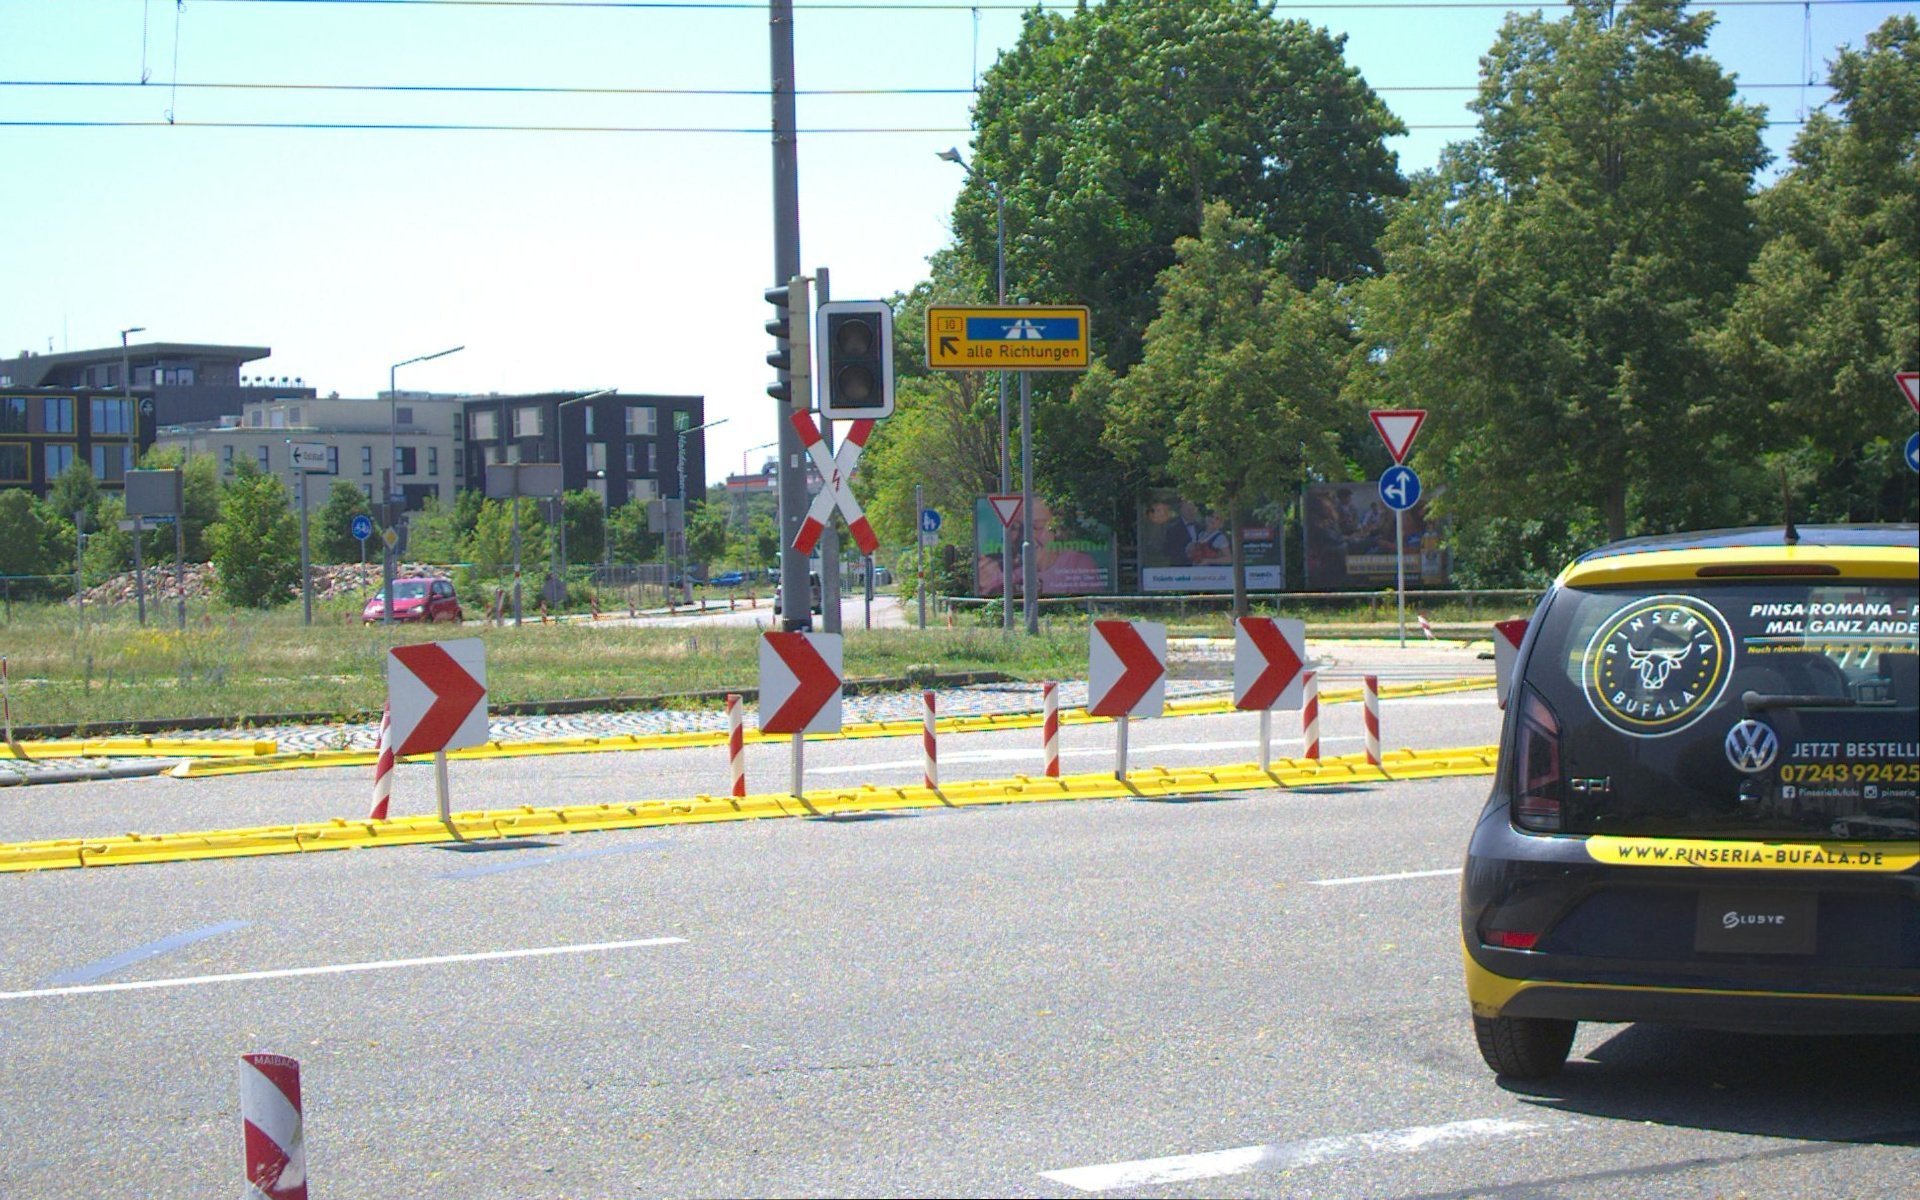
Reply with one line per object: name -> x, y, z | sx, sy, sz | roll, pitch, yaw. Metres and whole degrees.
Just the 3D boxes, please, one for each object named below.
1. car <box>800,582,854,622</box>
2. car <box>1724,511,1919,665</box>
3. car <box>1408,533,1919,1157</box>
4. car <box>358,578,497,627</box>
car -> -4.844, 0.050, 125.499 | 1.658, 1.368, 3.031 | -1, 1, 3
car -> 9.249, -0.164, 36.098 | 1.994, 1.481, 4.365 | -2, 1, 8
car -> 2.675, 0.539, 9.951 | 1.620, 1.446, 3.981 | 0, 1, 25
car -> -12.849, 0.056, 83.150 | 1.495, 1.086, 3.515 | -1, 1, 28
